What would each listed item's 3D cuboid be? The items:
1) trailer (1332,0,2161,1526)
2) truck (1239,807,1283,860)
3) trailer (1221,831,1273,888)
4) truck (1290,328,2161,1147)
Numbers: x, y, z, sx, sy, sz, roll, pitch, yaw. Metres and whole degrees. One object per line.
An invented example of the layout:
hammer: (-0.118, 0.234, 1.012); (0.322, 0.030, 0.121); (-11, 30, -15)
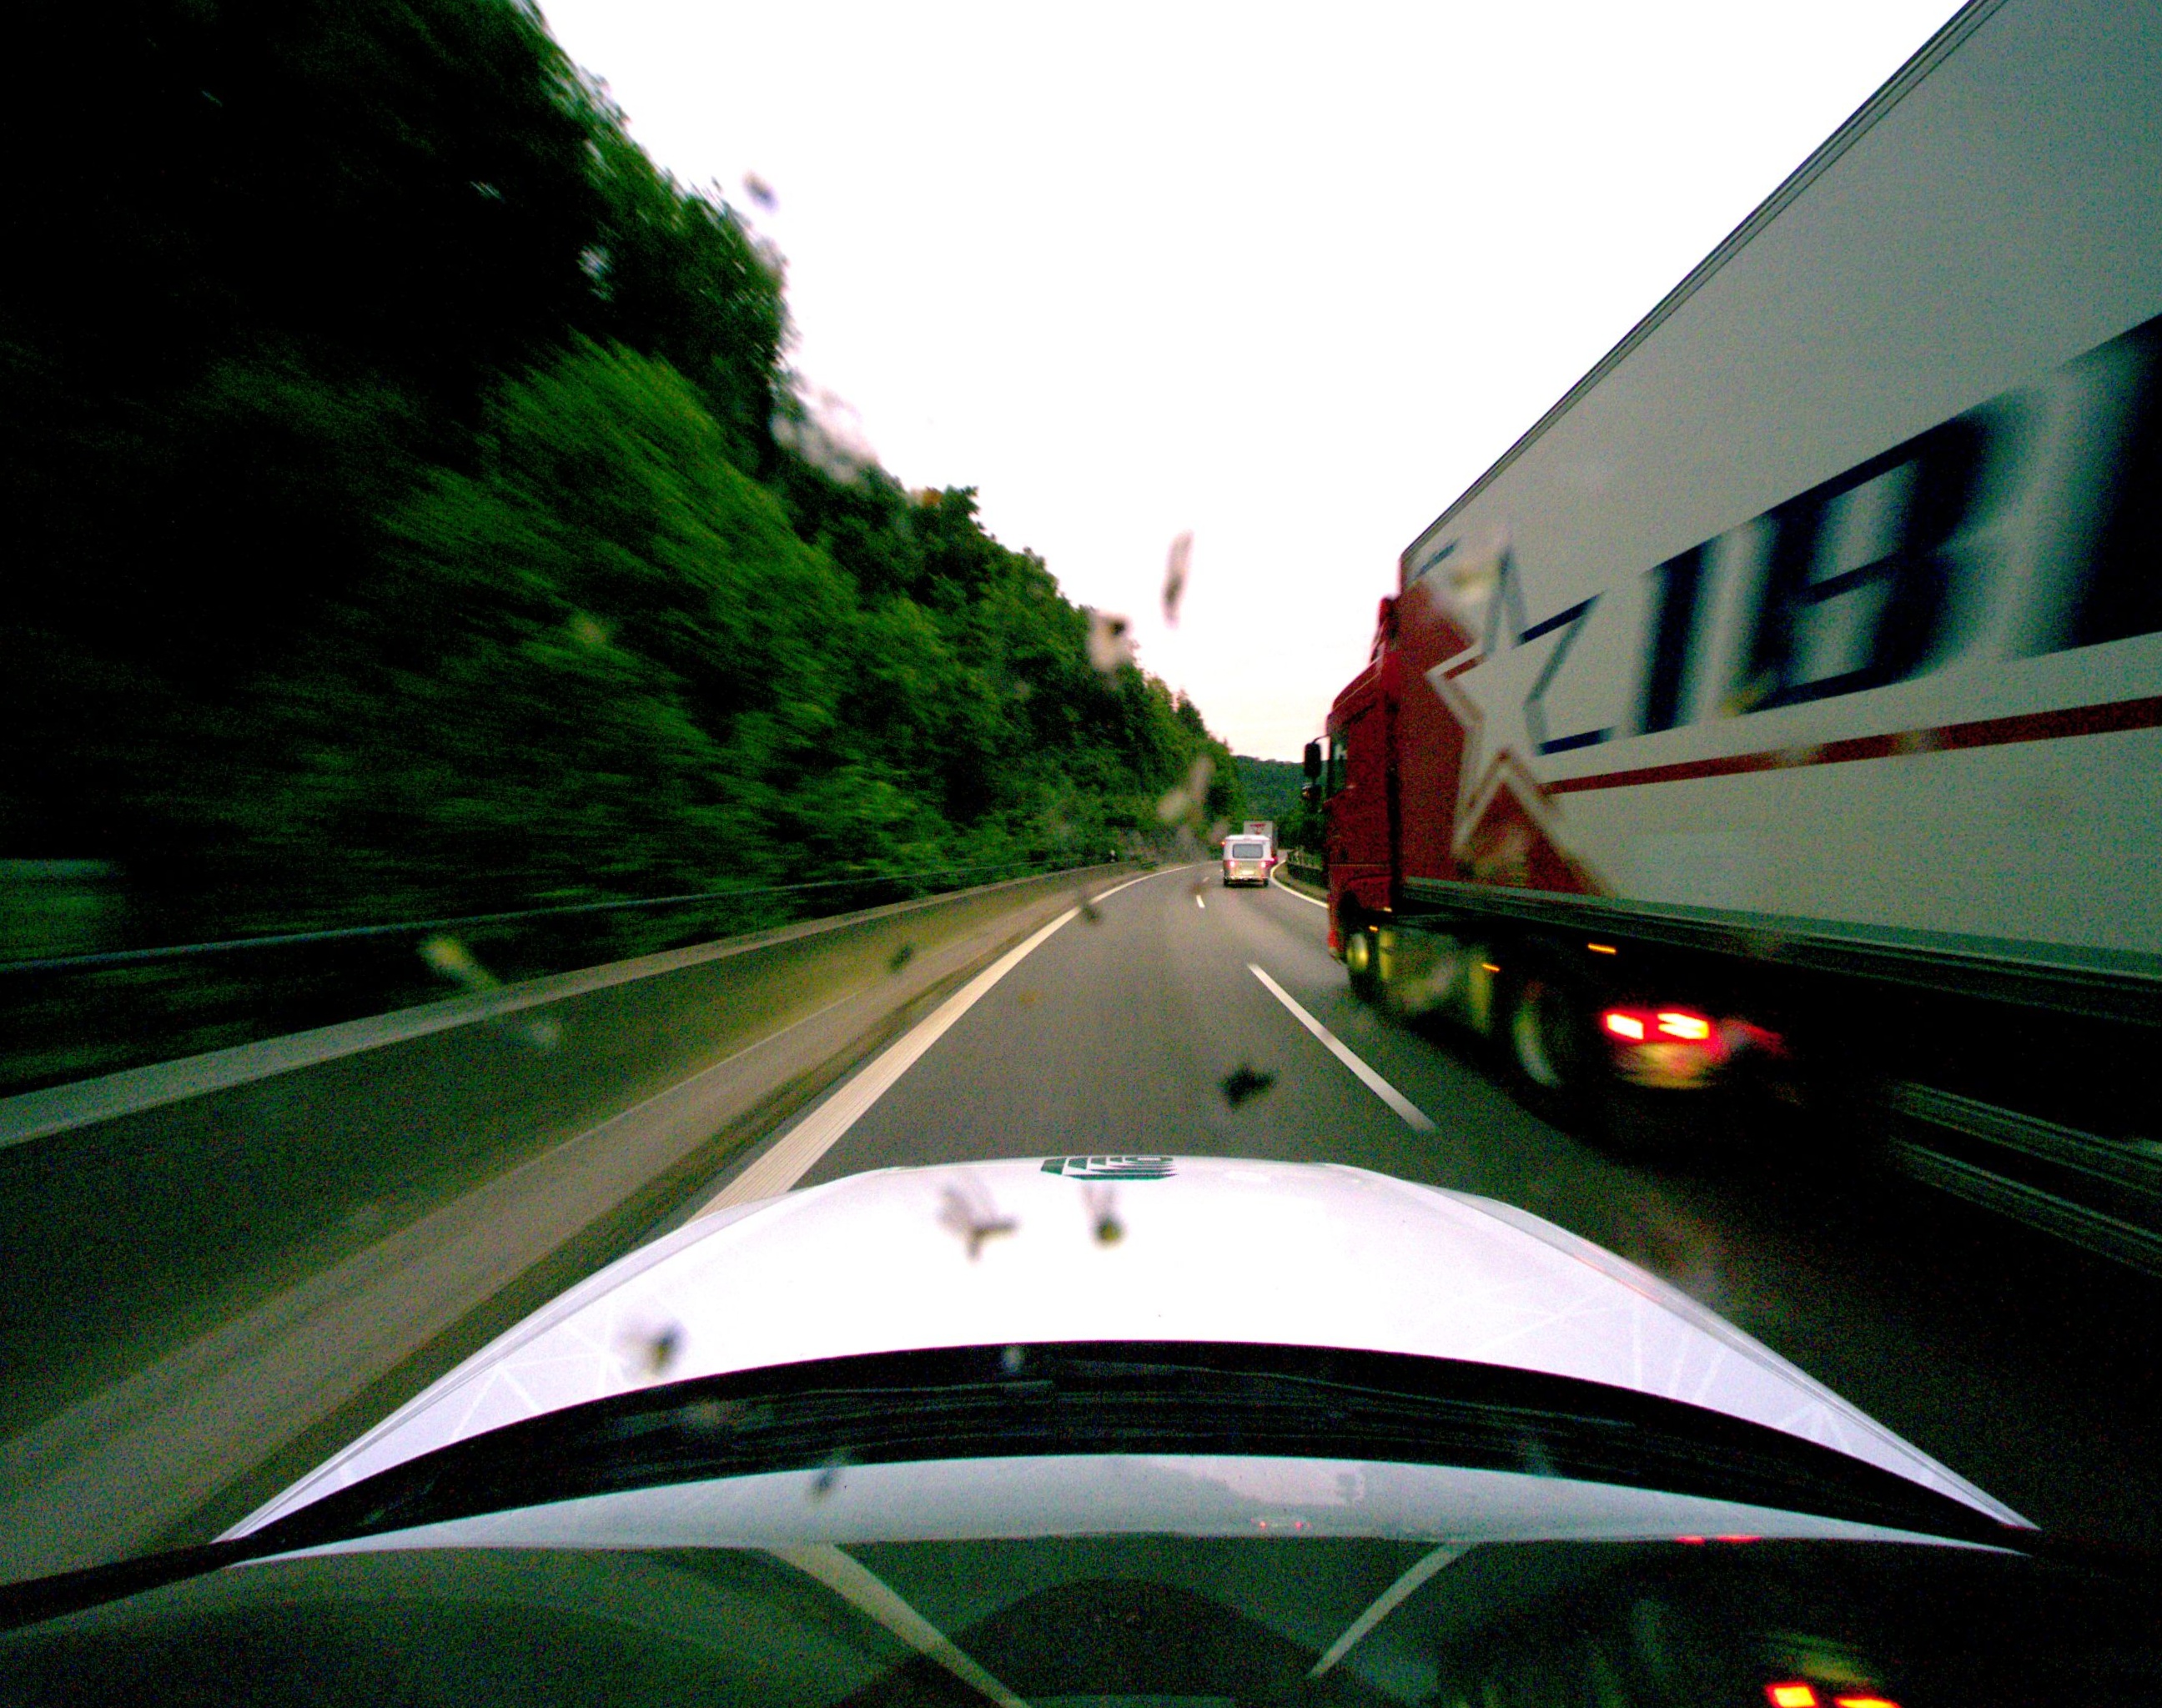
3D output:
trailer: (3.902, -0.517, 0.724); (3.086, 3.970, 14.219); (-2, 0, 1)
truck: (16.749, -1.697, 75.394); (3.272, 4.173, 16.562); (-5, -1, 13)
trailer: (7.460, 0.209, 37.074); (2.042, 2.375, 5.953); (0, 0, 9)
truck: (4.131, -0.578, 7.369); (3.057, 4.145, 6.450); (0, -1, 2)
